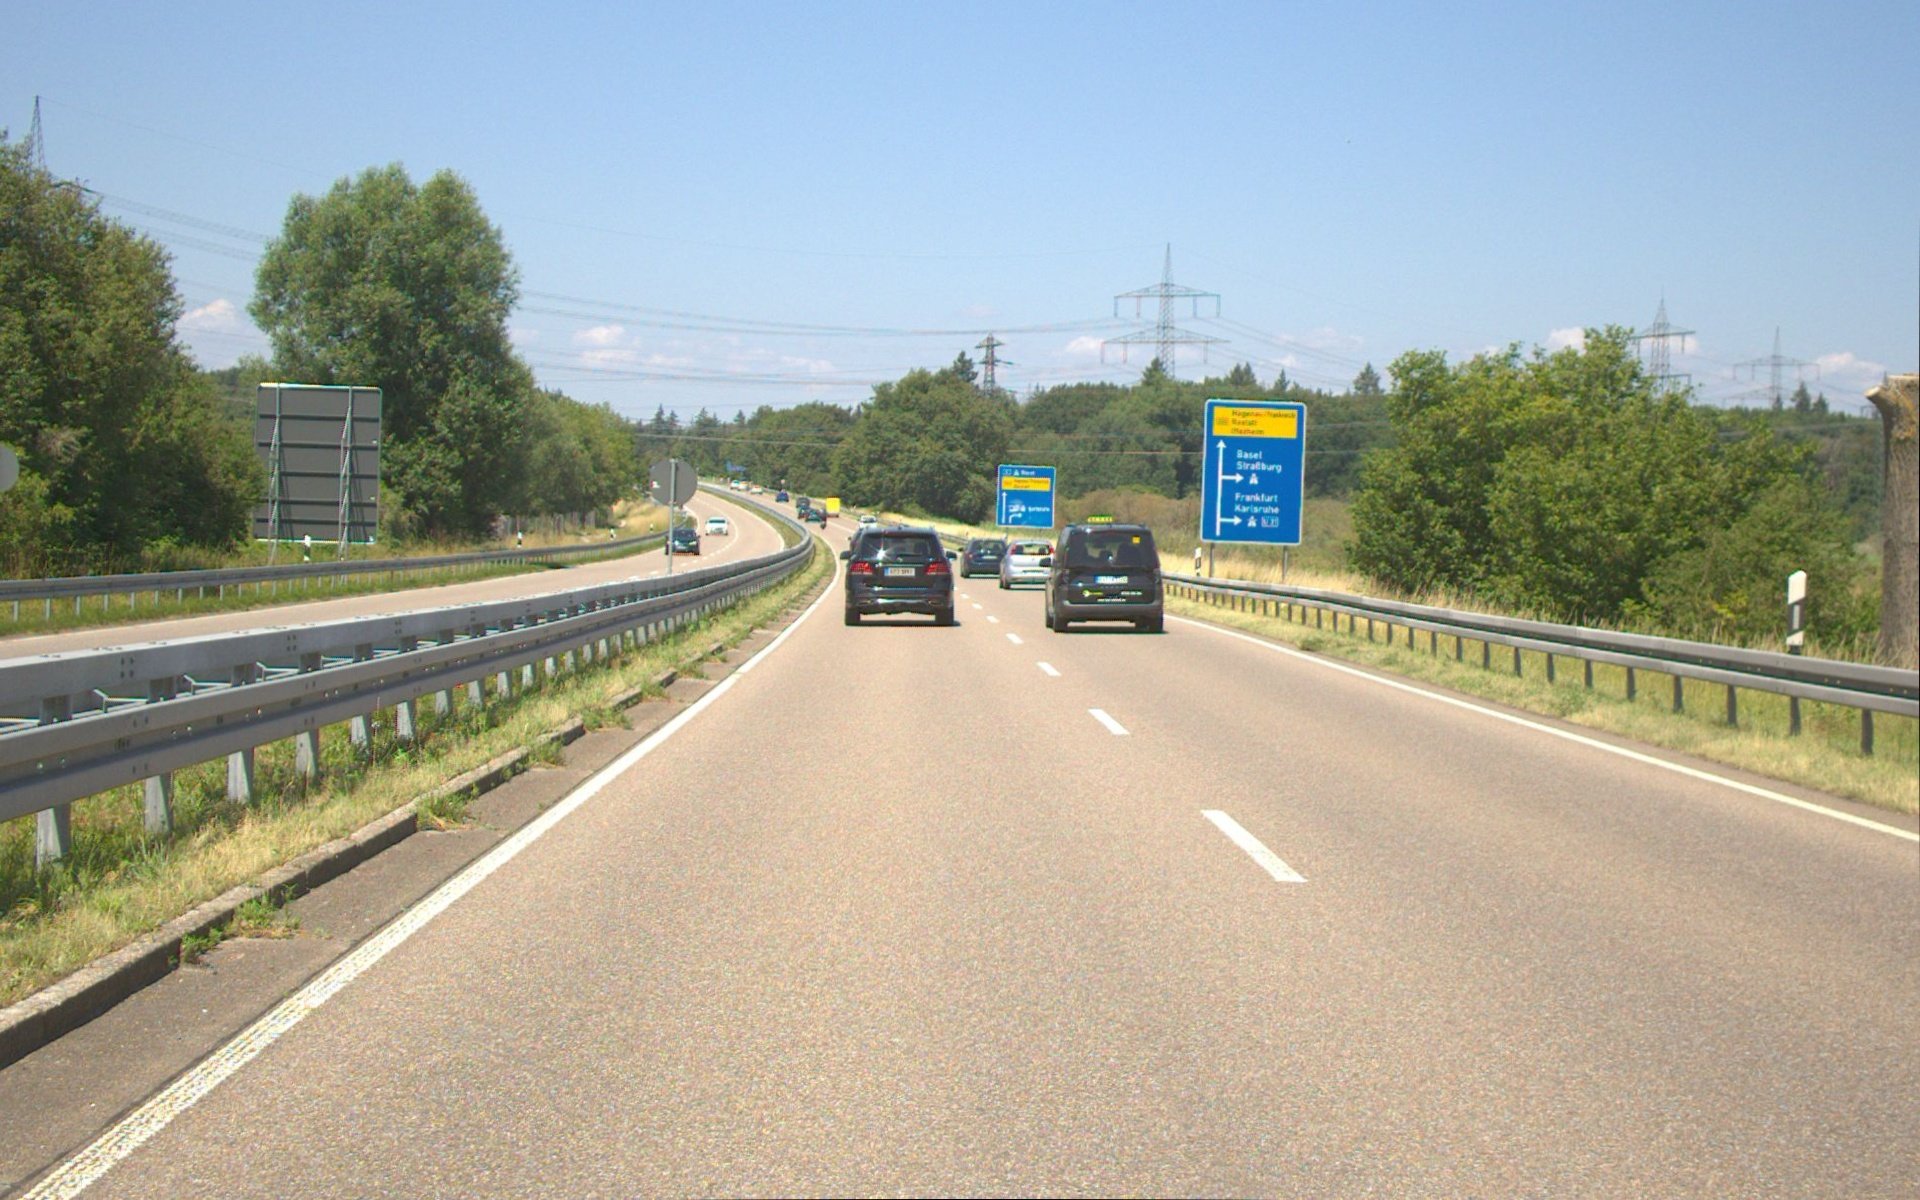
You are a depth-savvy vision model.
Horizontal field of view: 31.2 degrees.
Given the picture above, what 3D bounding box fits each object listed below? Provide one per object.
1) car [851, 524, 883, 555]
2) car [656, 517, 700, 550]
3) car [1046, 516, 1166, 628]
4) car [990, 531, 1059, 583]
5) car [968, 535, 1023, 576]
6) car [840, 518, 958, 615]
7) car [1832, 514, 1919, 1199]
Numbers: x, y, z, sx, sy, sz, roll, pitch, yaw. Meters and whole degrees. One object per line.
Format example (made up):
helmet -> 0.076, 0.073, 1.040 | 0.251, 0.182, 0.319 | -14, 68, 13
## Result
car -> -4.848, -3.165, 178.860 | 1.514, 1.470, 3.067 | 4, 2, -2
car -> -15.236, -3.602, 185.854 | 1.993, 1.631, 4.874 | 4, 2, -1
car -> 2.436, -0.498, 58.260 | 1.780, 1.810, 4.213 | 1, 1, -1
car -> 1.885, -1.287, 101.600 | 1.779, 1.474, 4.316 | 1, 1, -2
car -> 1.273, -1.605, 123.179 | 1.819, 1.409, 4.001 | 1, 2, -1
car -> -1.127, -0.612, 61.461 | 1.993, 1.649, 4.001 | 1, 1, -2
car -> 3.082, 0.628, 6.369 | 1.785, 1.548, 4.020 | 0, 2, -2
